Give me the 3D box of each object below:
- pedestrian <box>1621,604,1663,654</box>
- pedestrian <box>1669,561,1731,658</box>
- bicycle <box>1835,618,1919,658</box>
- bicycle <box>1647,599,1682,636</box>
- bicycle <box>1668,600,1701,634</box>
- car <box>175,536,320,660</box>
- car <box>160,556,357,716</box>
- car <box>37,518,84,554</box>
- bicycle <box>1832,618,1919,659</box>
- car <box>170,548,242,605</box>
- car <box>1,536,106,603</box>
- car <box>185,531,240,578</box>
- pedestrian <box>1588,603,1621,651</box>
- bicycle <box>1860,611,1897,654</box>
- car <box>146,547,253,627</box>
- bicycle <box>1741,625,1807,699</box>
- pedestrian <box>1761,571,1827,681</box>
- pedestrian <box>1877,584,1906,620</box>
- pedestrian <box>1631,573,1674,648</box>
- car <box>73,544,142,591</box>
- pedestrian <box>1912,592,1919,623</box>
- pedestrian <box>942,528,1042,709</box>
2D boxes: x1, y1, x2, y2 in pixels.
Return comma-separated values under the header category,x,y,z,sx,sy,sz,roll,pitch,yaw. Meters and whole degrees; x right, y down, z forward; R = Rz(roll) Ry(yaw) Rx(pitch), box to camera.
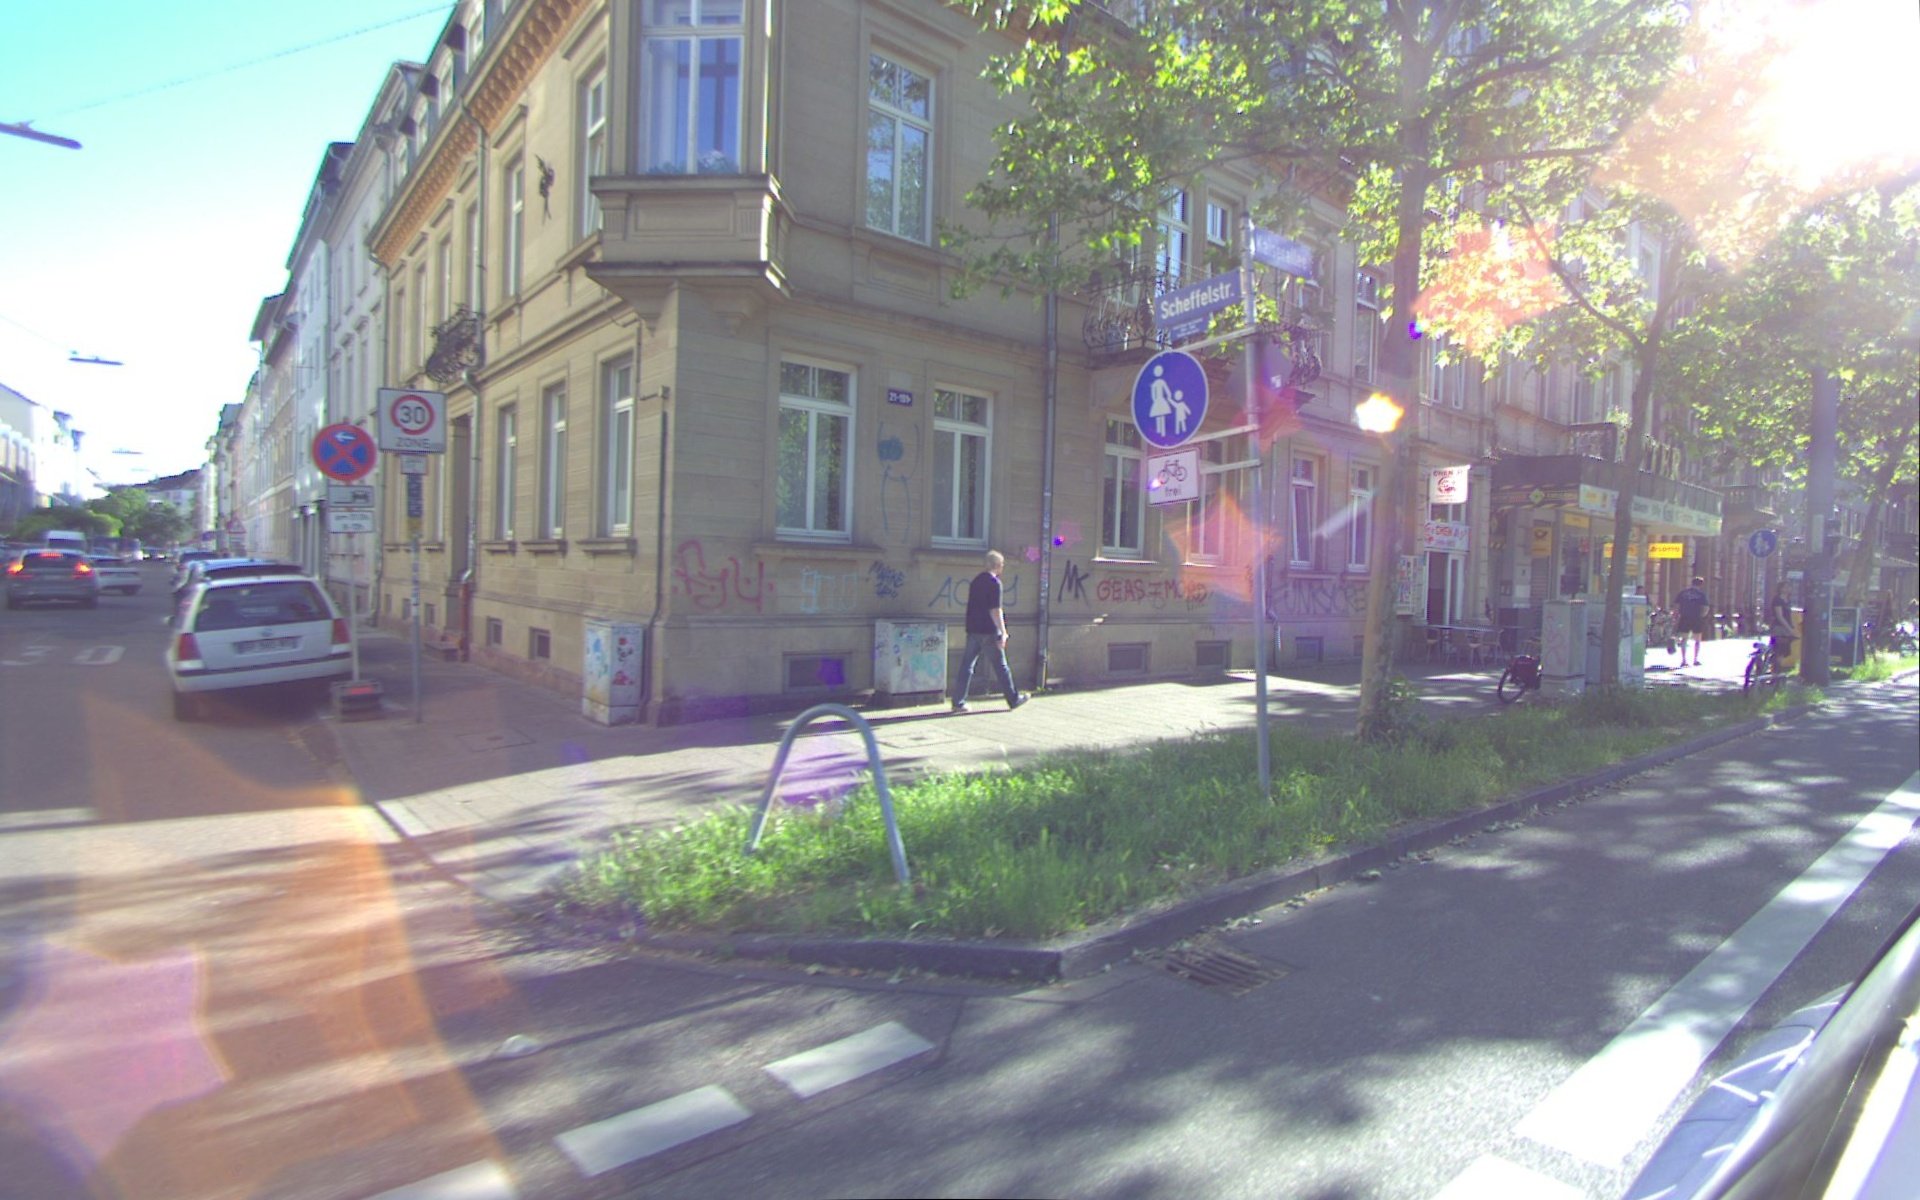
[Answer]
category,x,y,z,sx,sy,sz,roll,pitch,yaw
pedestrian,16.432,0.701,24.384,0.766,1.176,0.465,0,-1,25
pedestrian,15.956,0.204,21.820,0.840,2.039,0.884,1,-1,-37
bicycle,24.454,1.000,26.733,0.436,1.006,2.006,2,-1,-42
bicycle,19.954,0.490,28.656,1.659,1.006,0.443,1,-1,-42
bicycle,21.869,0.510,30.534,1.659,1.006,0.443,1,-1,-42
car,-11.284,-0.026,15.919,1.636,1.699,3.997,1,-1,-38
car,-8.344,0.288,11.906,1.618,1.523,4.070,1,1,-38
car,-54.971,-3.895,61.902,1.919,2.039,3.997,0,1,-39
bicycle,24.091,0.995,26.397,0.436,1.006,2.017,2,-1,-42
car,-22.736,-0.666,30.470,1.621,1.566,3.741,1,-1,-38
car,-25.891,-0.821,29.022,1.879,1.768,3.998,1,-1,-37
car,-32.101,-1.908,43.438,1.800,1.839,3.791,1,-1,-37
pedestrian,16.237,0.667,25.485,0.644,1.176,0.602,0,-1,39
bicycle,21.962,0.765,24.205,0.441,1.006,1.667,0,-1,35
car,-17.157,-0.338,22.816,1.757,1.634,3.875,1,2,-38
bicycle,11.584,0.859,14.386,1.719,0.982,0.428,1,-1,-41
pedestrian,13.976,0.432,16.963,0.852,1.794,0.644,1,-1,-34
pedestrian,49.205,0.114,53.484,0.702,1.863,1.002,0,1,-38
pedestrian,17.119,0.258,25.027,0.758,1.833,0.470,1,-1,-9
car,-31.617,-1.187,37.602,1.835,1.610,3.638,1,0,-39
pedestrian,56.651,0.450,59.417,0.702,1.783,1.001,1,-1,-40
pedestrian,0.349,0.192,10.901,0.943,1.850,0.564,2,-1,-44
